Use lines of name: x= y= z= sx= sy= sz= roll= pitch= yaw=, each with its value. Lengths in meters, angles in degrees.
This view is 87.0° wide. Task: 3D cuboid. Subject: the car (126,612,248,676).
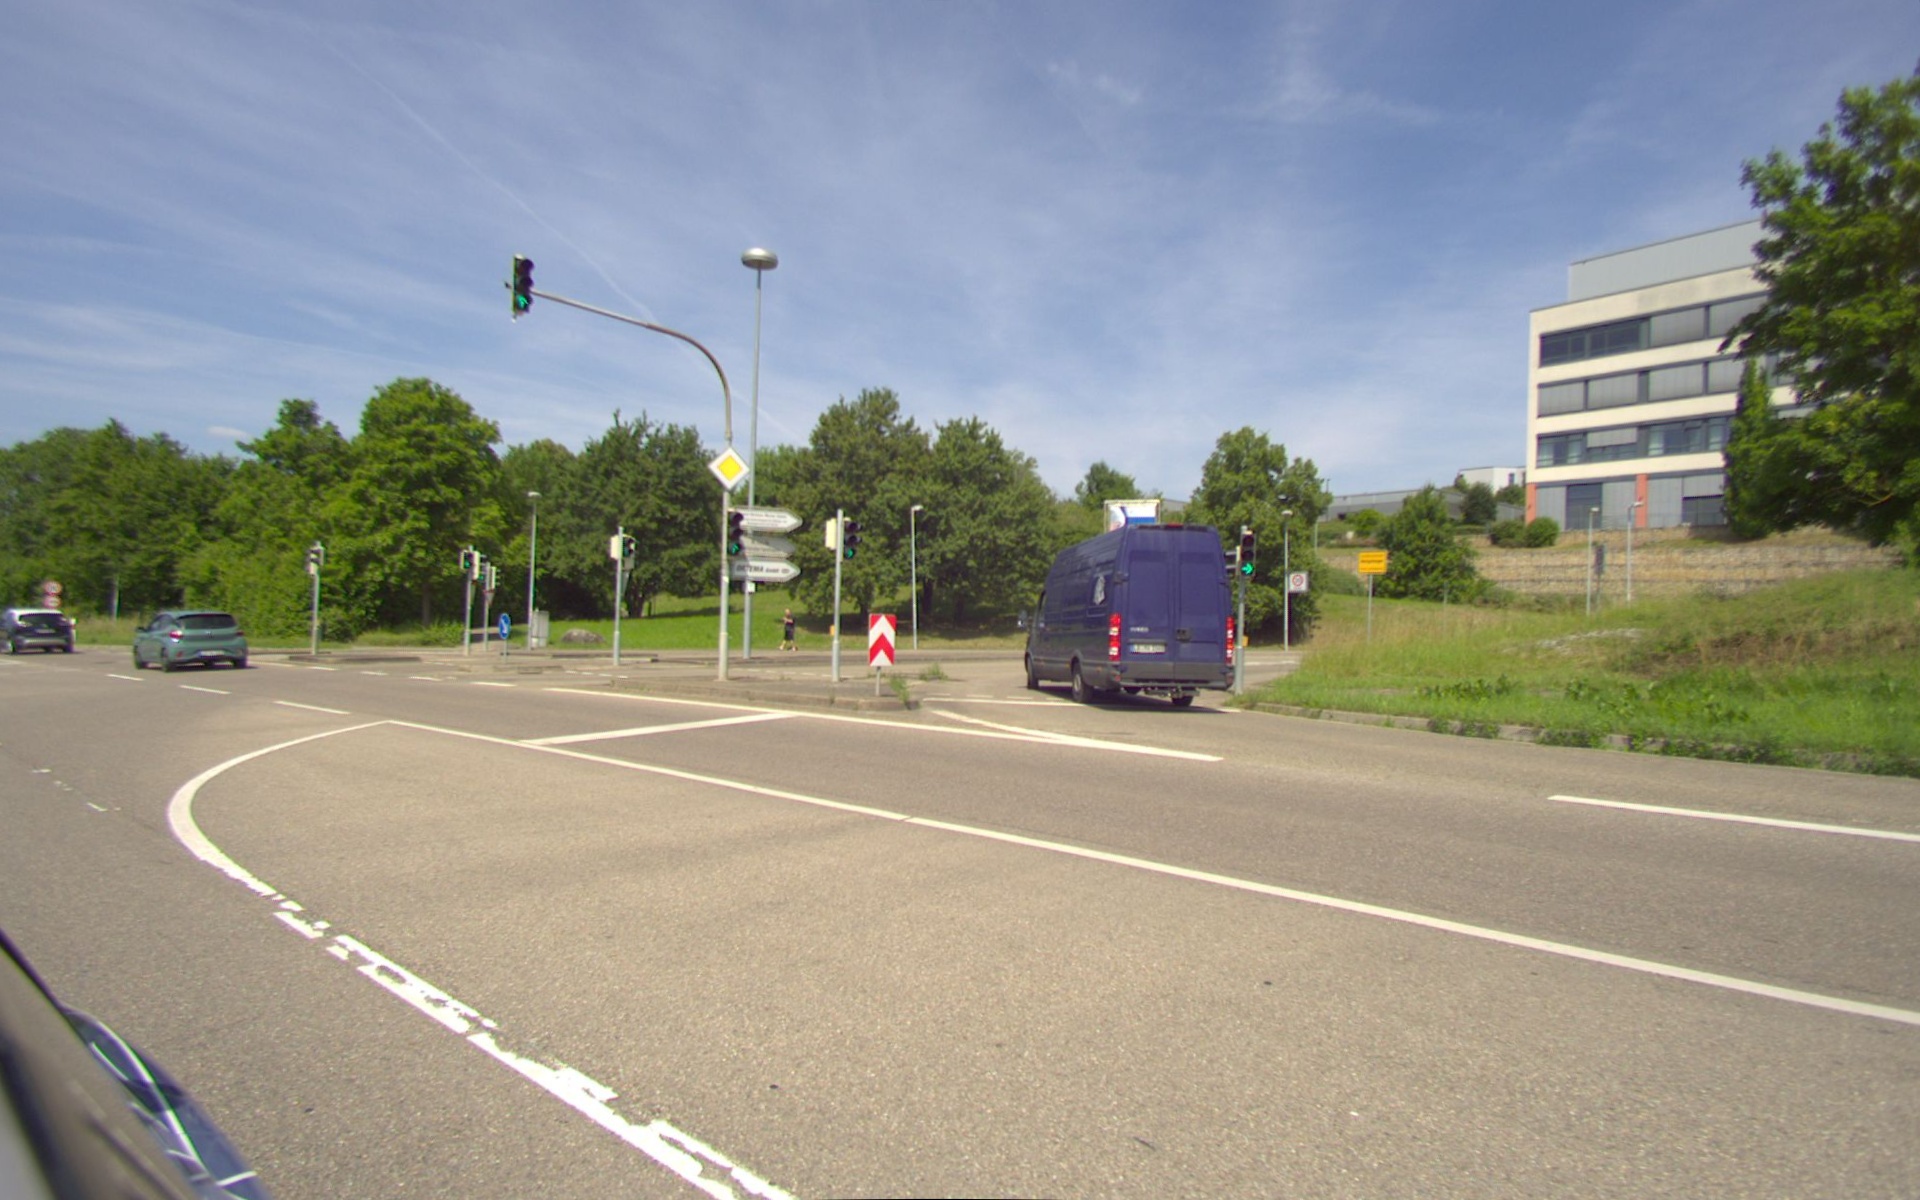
car: x=-19.743 y=1.052 z=25.810 sx=3.829 sy=1.494 sz=1.689 roll=-1 pitch=0 yaw=40

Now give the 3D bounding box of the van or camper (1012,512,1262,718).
van or camper: x=2.751 y=0.261 z=18.188 sx=2.211 sy=2.936 sz=7.260 roll=0 pitch=-1 yaw=-8

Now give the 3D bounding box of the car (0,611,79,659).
car: x=-33.069 y=1.196 z=35.952 sx=4.184 sy=1.574 sz=1.955 roll=-1 pitch=0 yaw=39

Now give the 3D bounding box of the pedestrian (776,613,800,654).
pedestrian: x=-7.568 y=1.465 z=44.471 sx=0.906 sy=1.749 sz=0.902 roll=0 pitch=0 yaw=-16
